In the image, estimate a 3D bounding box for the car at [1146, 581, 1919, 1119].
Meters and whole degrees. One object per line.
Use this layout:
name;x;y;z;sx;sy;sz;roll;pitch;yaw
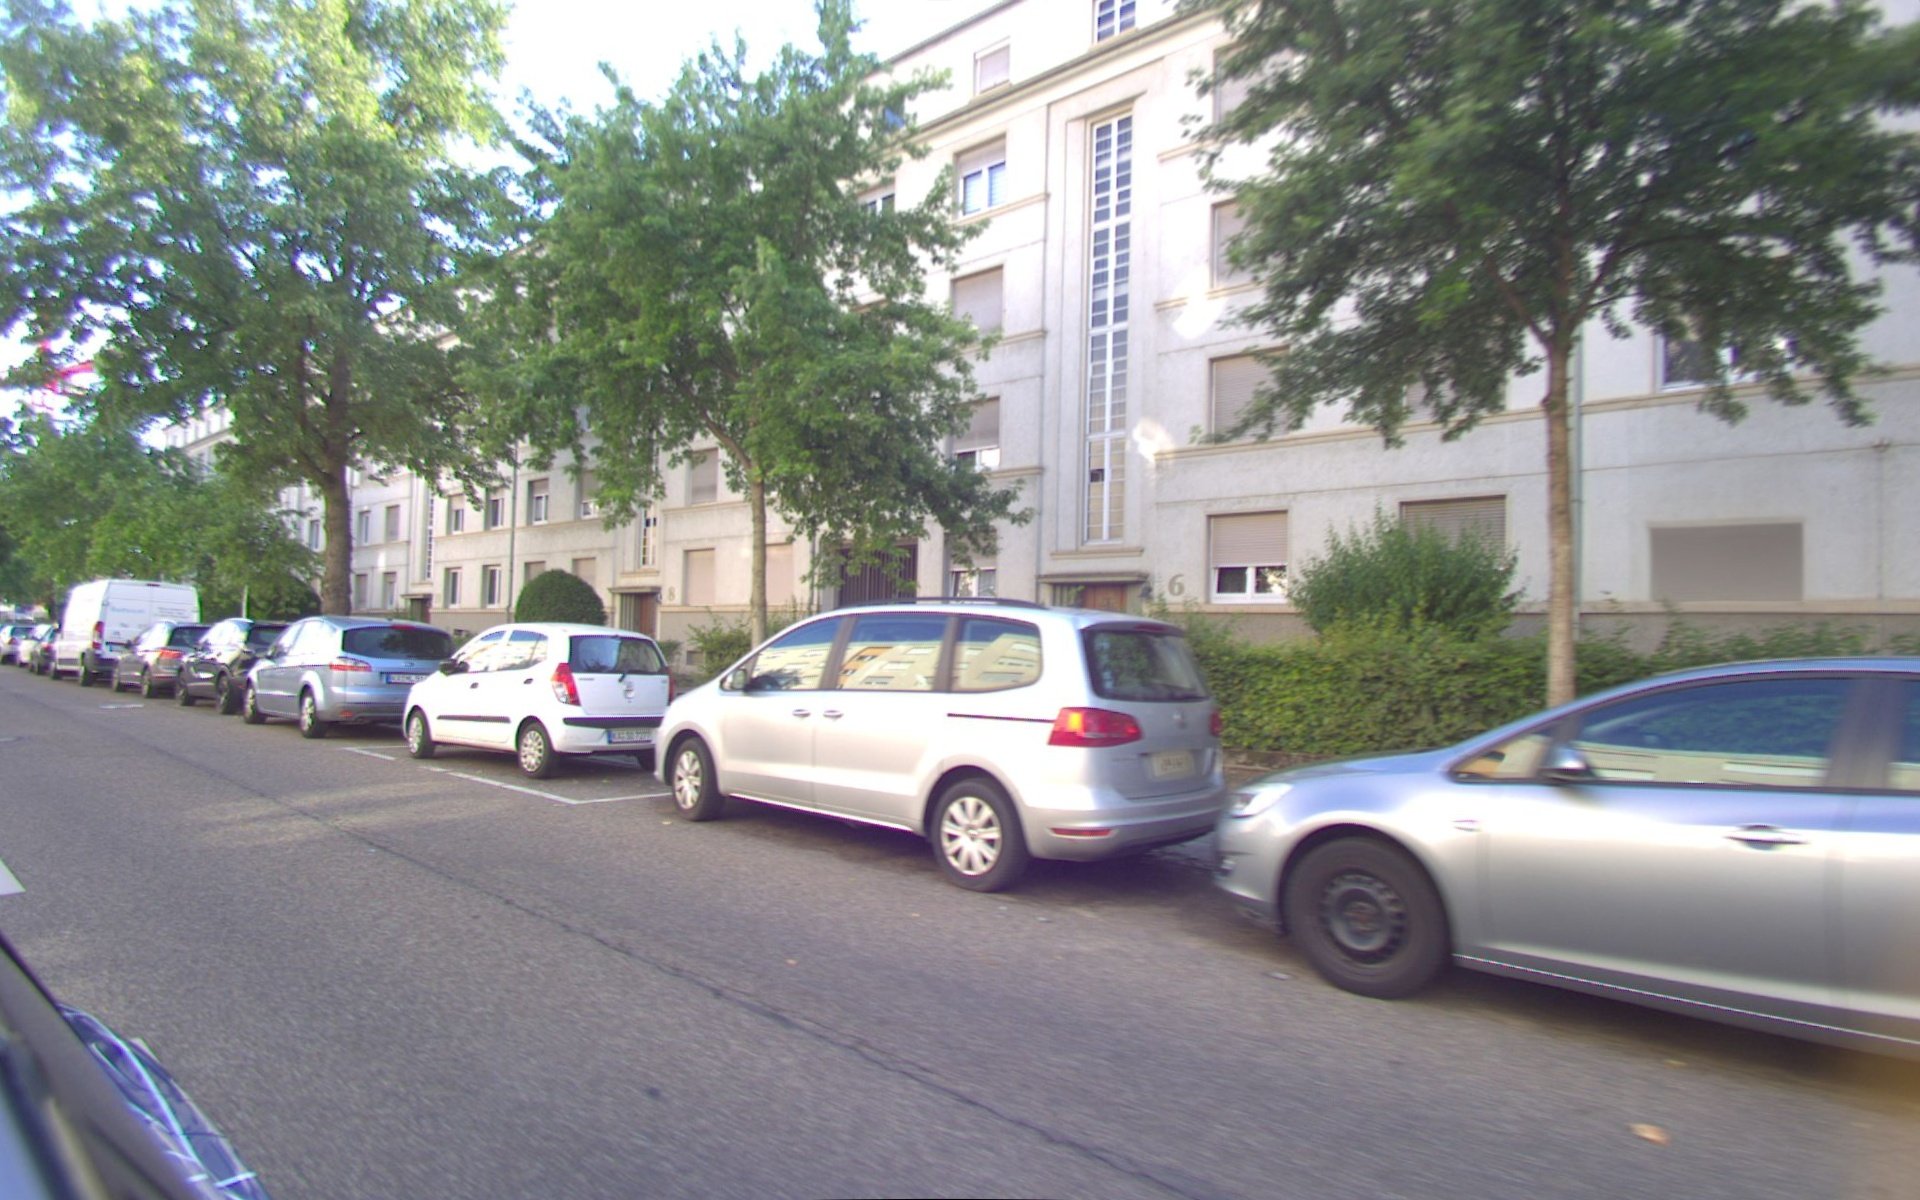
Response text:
car;3.171;0.780;3.905;4.495;1.570;1.851;0;-3;41

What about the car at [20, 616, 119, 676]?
car;-26.103;1.290;29.624;3.818;1.586;1.689;1;-1;41

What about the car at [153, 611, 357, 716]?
car;-12.712;1.100;18.151;4.363;1.570;1.851;0;-6;41

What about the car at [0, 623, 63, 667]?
car;-34.257;1.596;36.717;4.649;1.365;1.855;0;1;39

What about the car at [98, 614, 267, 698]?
car;-16.631;1.160;21.577;4.343;1.570;1.937;0;-4;41

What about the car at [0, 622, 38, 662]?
car;-40.601;1.734;42.667;3.995;1.564;1.855;0;-3;38

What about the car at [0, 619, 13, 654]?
car;-45.366;1.653;46.592;4.467;1.564;1.984;0;-1;39

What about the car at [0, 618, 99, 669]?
car;-30.398;1.423;33.783;3.253;1.586;1.693;0;-2;35

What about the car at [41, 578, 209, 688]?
car;-21.212;0.725;25.595;6.162;2.464;2.333;0;0;41

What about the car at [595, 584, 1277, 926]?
car;-0.473;0.801;7.380;4.971;1.690;1.896;0;-3;41

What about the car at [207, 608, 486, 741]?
car;-8.997;1.048;14.644;5.053;1.570;1.851;-2;-8;41

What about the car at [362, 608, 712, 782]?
car;-4.809;0.968;11.261;4.099;1.570;1.851;0;-6;41

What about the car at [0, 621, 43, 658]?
car;-38.554;1.549;40.759;3.996;1.366;1.855;0;-1;39
